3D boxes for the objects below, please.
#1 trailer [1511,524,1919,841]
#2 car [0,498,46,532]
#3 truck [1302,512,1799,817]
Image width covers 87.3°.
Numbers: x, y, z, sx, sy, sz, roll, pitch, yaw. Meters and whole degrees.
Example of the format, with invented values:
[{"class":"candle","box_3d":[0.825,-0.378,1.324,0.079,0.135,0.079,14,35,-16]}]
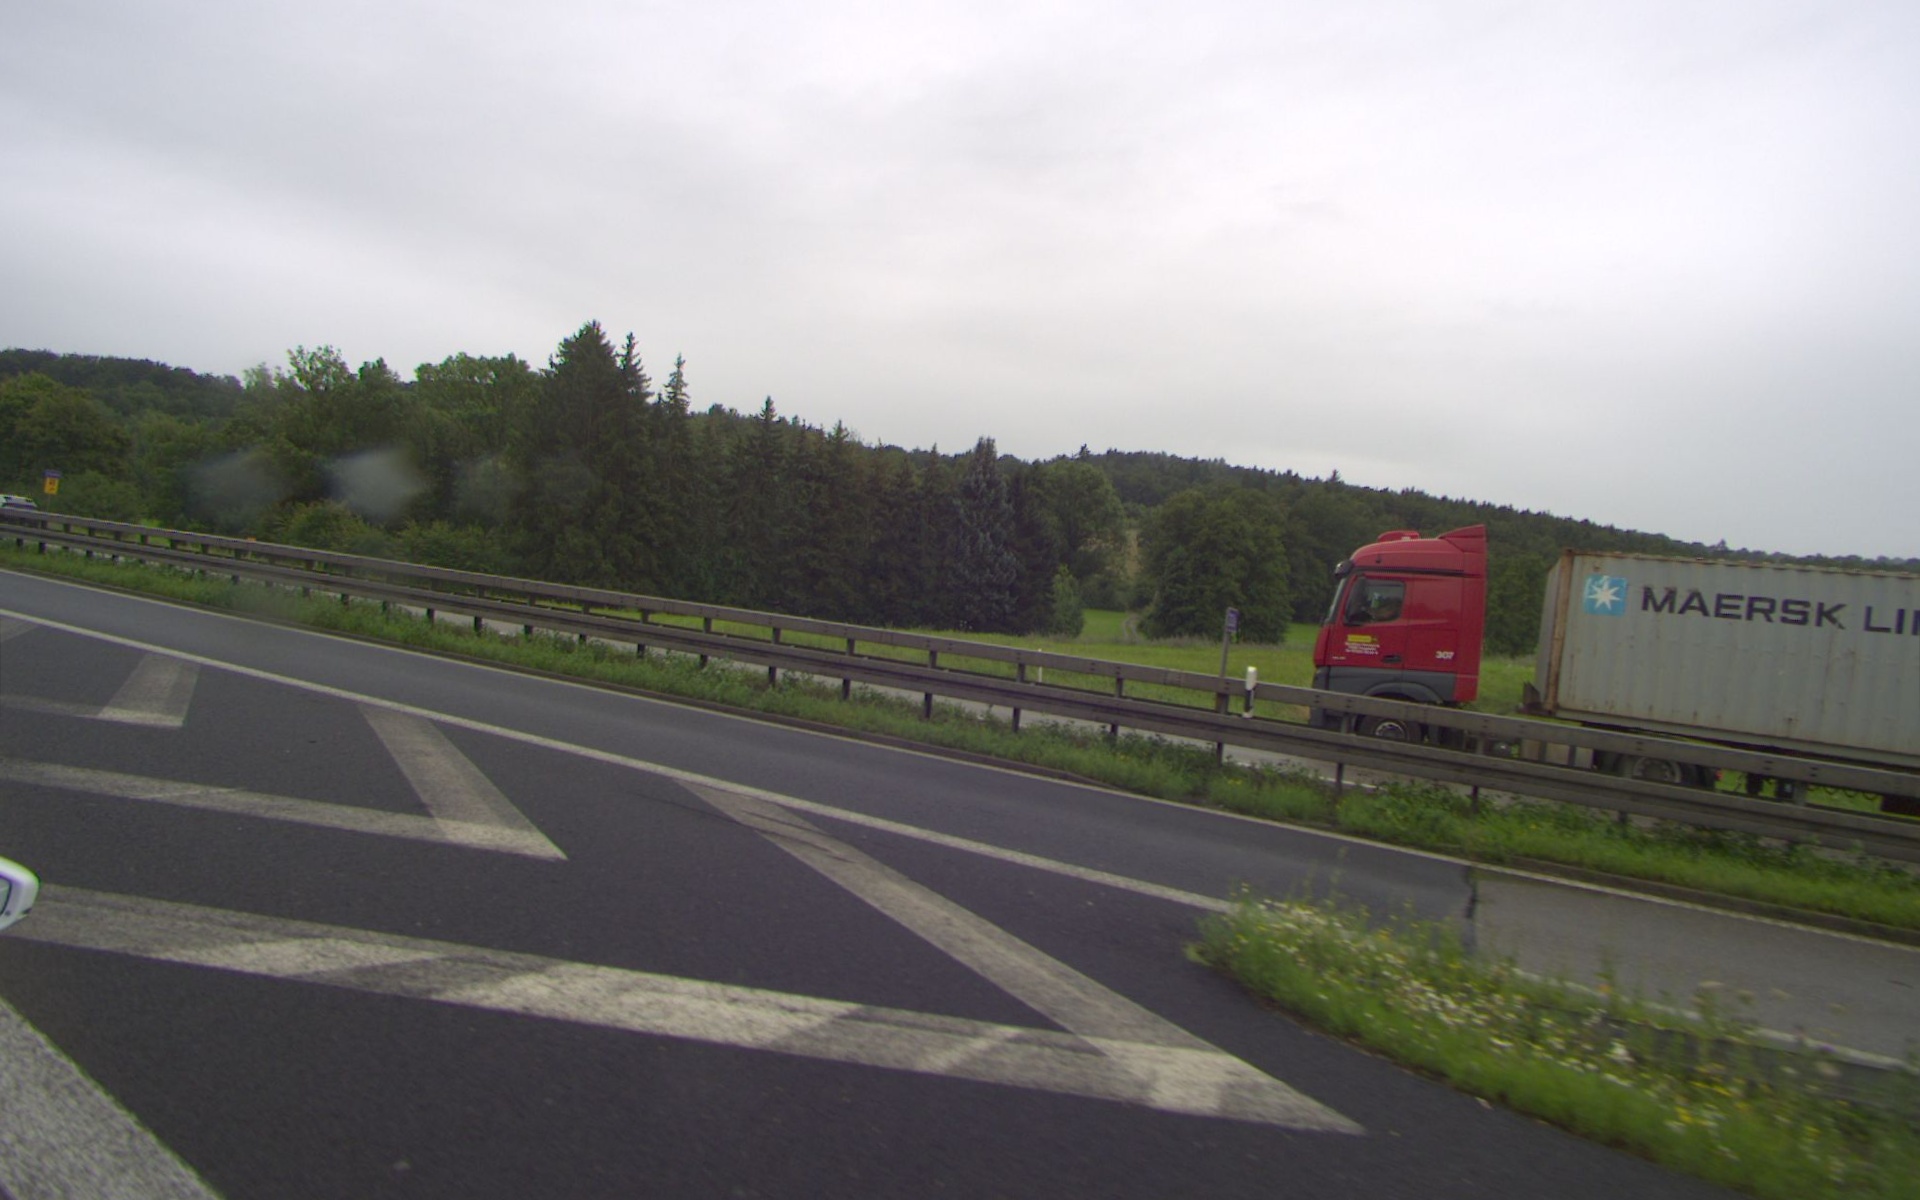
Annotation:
[{"class":"trailer","box_3d":[14.863,1.519,13.896,12.271,3.939,2.611,6,-1,27]},{"class":"car","box_3d":[-50.411,-4.586,53.340,3.933,1.473,1.679,6,-2,30]},{"class":"truck","box_3d":[9.353,0.900,16.722,6.279,3.930,2.624,6,-1,27]}]
